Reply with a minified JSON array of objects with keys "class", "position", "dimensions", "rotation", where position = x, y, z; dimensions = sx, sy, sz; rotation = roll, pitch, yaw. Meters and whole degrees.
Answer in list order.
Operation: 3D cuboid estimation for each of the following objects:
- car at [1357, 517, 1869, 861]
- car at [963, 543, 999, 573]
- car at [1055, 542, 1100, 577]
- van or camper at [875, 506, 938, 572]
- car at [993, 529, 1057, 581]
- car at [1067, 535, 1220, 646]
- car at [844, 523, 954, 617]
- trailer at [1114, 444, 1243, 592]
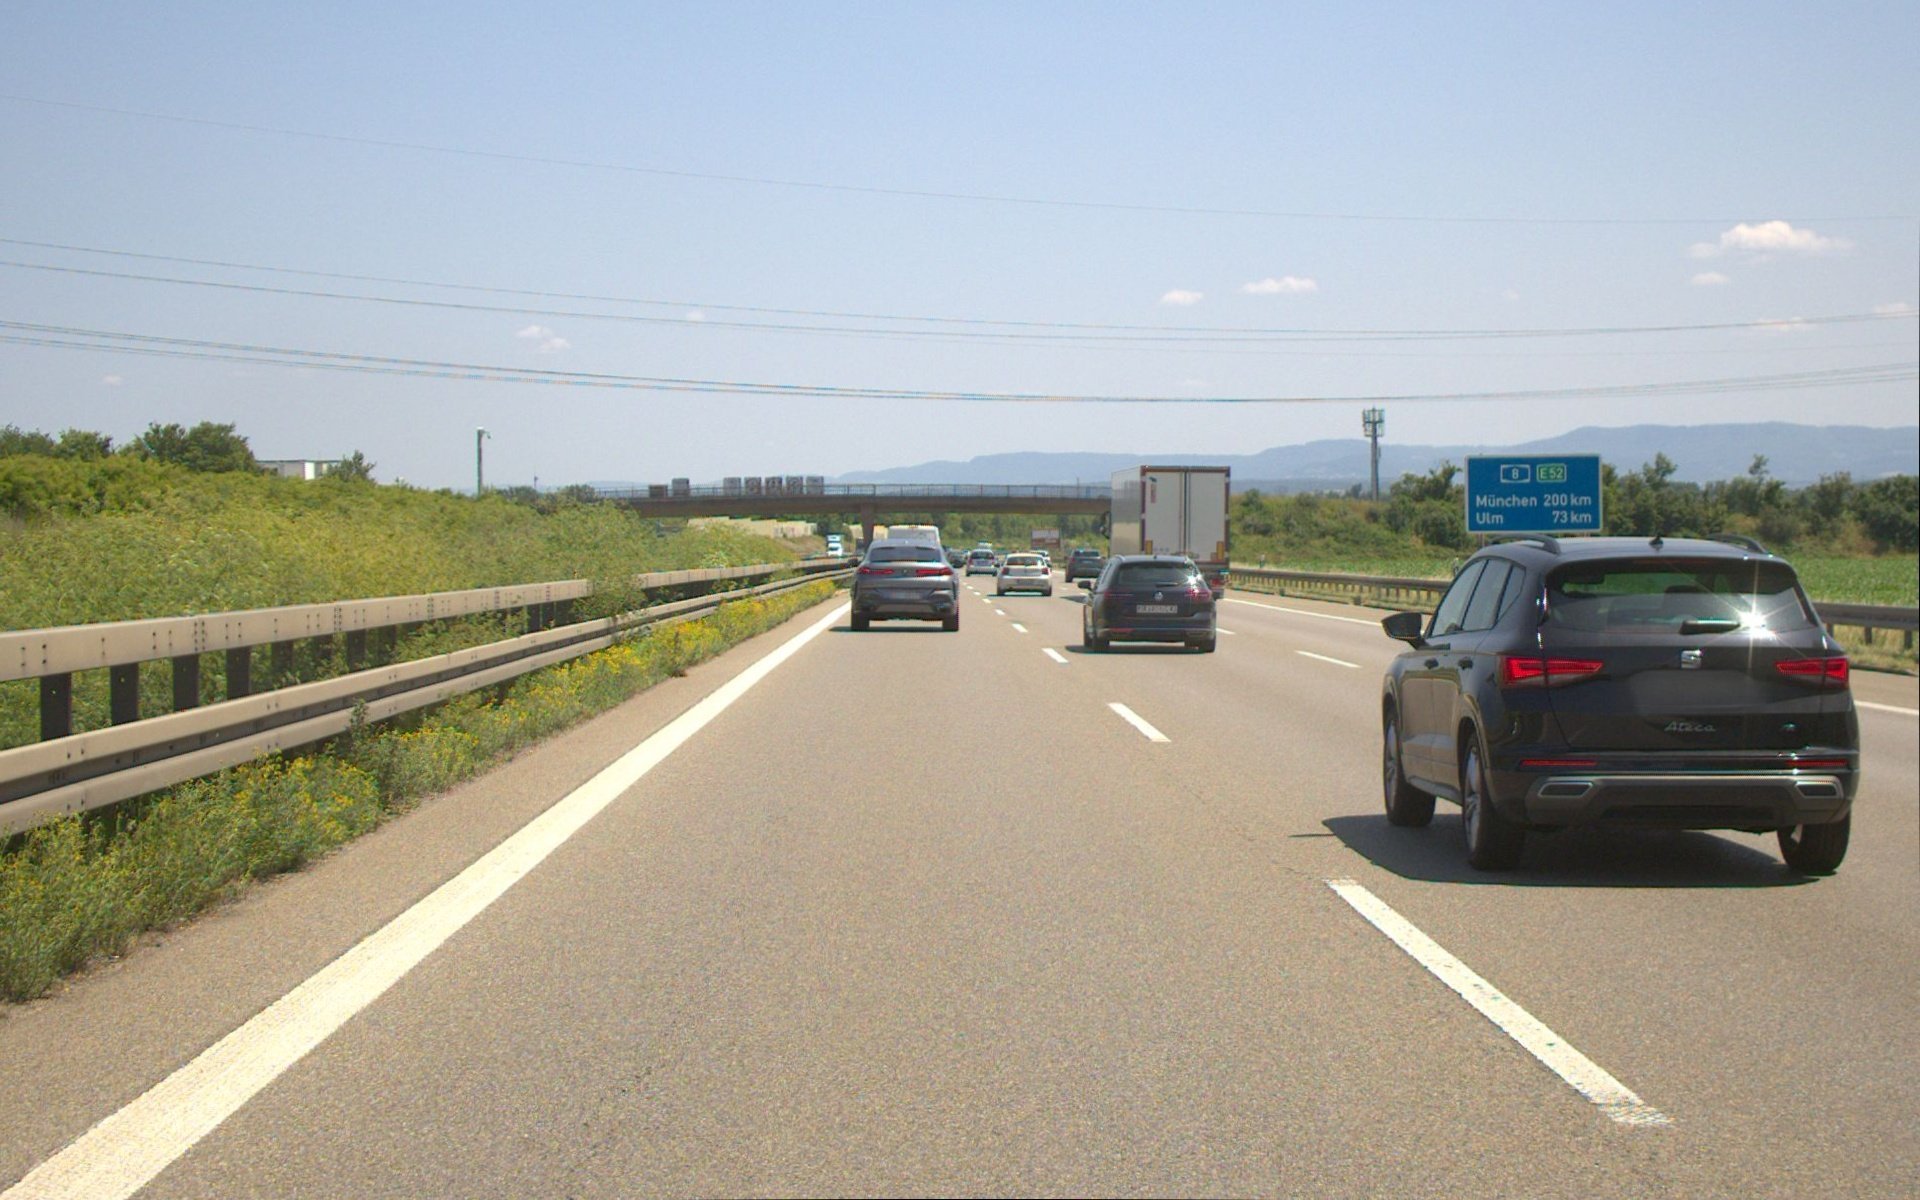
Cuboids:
[{"class":"car","position":[3.235,0.387,17.774],"dimensions":[1.796,1.556,3.824],"rotation":[1,1,-1]},{"class":"car","position":[1.223,-2.470,201.299],"dimensions":[1.993,1.677,4.000],"rotation":[1,1,0]},{"class":"car","position":[5.688,-1.975,167.052],"dimensions":[1.993,1.677,4.000],"rotation":[1,1,0]},{"class":"van or camper","position":[-1.843,-2.129,120.776],"dimensions":[2.110,2.204,5.266],"rotation":[1,1,0]},{"class":"car","position":[2.150,-1.504,114.304],"dimensions":[1.993,1.677,4.000],"rotation":[1,1,0]},{"class":"car","position":[2.720,-0.169,51.924],"dimensions":[1.933,1.569,4.935],"rotation":[1,1,-1]},{"class":"car","position":[-1.155,-0.560,63.706],"dimensions":[1.851,1.658,3.735],"rotation":[1,1,-3]},{"class":"trailer","position":[6.567,-2.456,105.491],"dimensions":[2.943,4.184,13.597],"rotation":[1,1,0]}]
